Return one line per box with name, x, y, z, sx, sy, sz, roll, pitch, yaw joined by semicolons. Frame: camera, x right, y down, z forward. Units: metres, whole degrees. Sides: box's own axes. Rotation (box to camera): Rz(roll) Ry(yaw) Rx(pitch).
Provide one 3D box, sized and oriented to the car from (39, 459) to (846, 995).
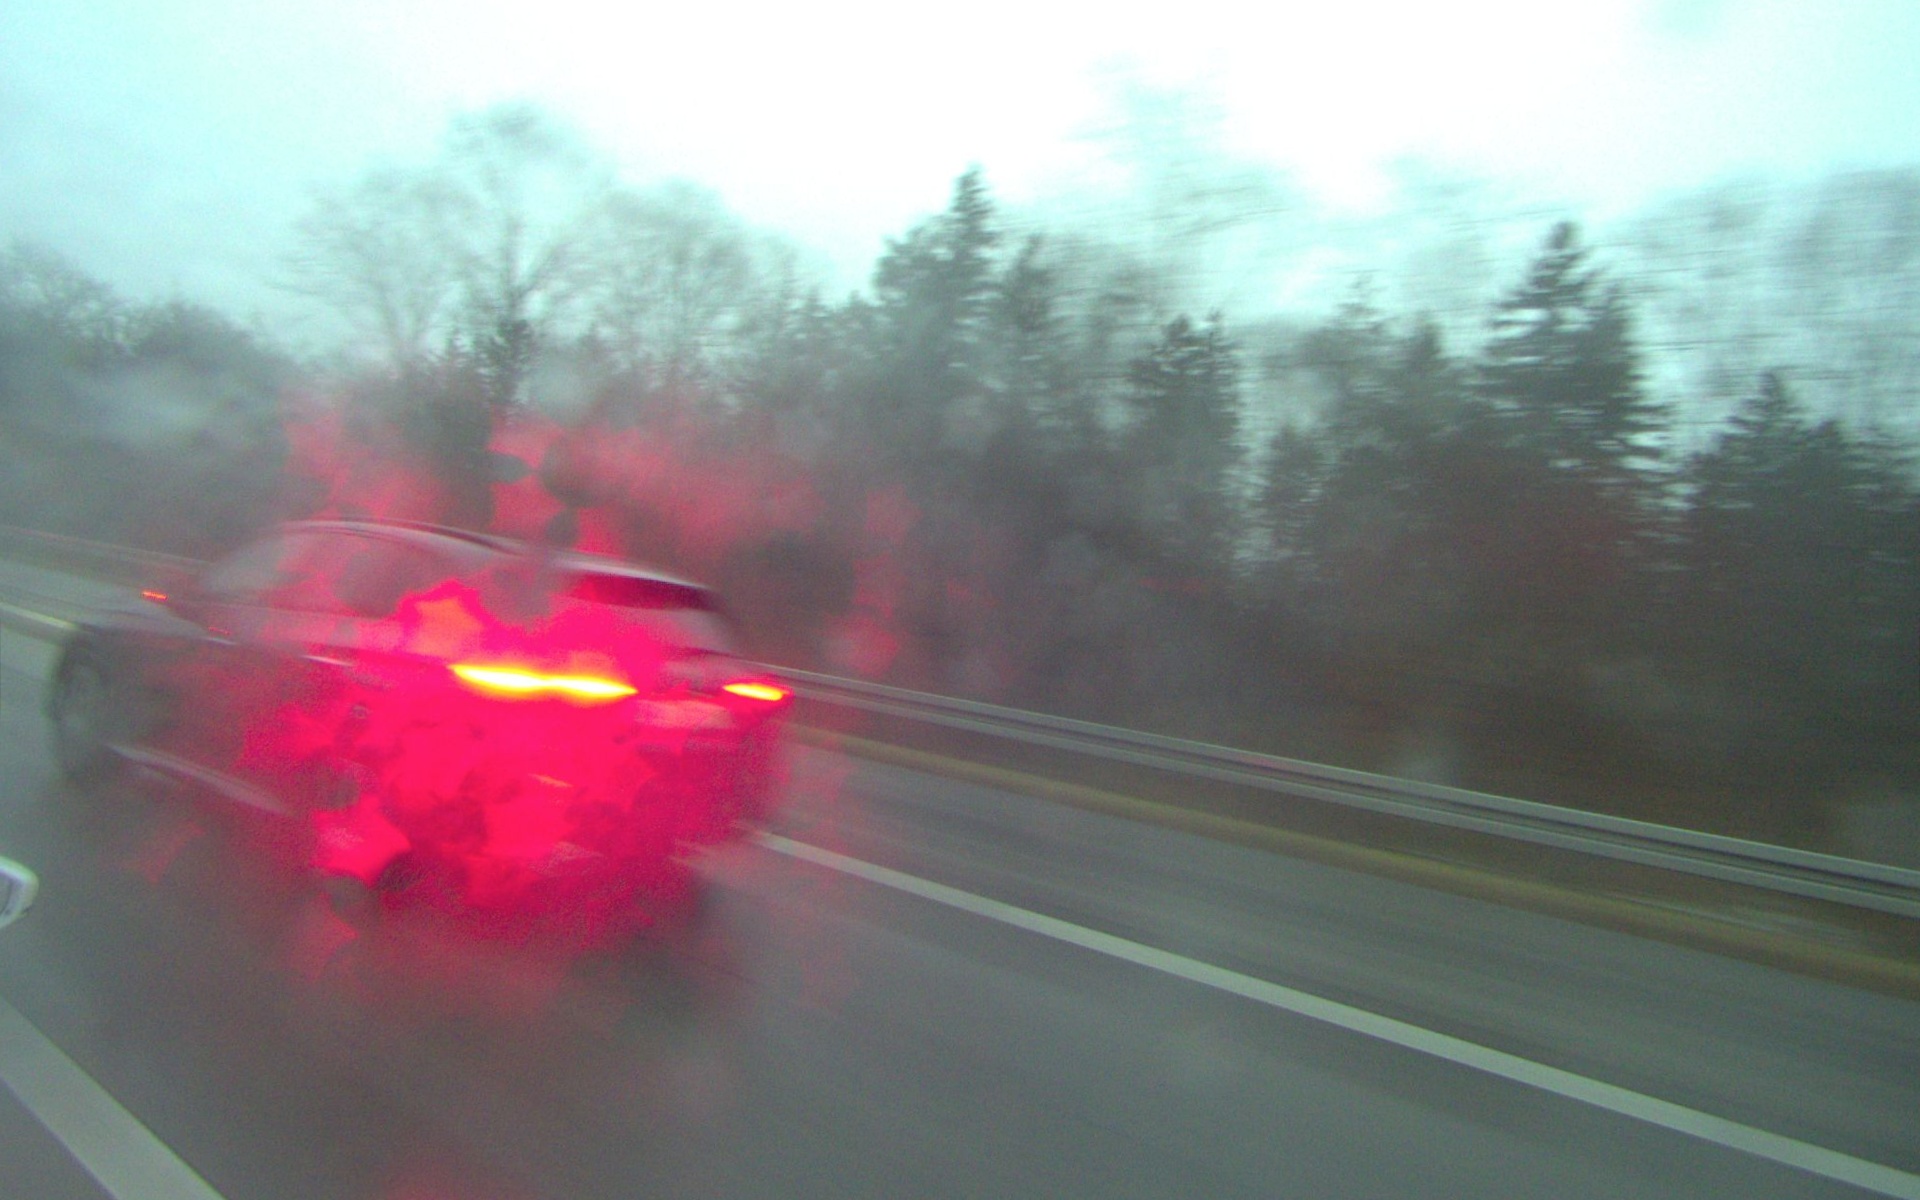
car;-2.824;0.393;5.355;3.875;1.812;1.928;6;-2;31
